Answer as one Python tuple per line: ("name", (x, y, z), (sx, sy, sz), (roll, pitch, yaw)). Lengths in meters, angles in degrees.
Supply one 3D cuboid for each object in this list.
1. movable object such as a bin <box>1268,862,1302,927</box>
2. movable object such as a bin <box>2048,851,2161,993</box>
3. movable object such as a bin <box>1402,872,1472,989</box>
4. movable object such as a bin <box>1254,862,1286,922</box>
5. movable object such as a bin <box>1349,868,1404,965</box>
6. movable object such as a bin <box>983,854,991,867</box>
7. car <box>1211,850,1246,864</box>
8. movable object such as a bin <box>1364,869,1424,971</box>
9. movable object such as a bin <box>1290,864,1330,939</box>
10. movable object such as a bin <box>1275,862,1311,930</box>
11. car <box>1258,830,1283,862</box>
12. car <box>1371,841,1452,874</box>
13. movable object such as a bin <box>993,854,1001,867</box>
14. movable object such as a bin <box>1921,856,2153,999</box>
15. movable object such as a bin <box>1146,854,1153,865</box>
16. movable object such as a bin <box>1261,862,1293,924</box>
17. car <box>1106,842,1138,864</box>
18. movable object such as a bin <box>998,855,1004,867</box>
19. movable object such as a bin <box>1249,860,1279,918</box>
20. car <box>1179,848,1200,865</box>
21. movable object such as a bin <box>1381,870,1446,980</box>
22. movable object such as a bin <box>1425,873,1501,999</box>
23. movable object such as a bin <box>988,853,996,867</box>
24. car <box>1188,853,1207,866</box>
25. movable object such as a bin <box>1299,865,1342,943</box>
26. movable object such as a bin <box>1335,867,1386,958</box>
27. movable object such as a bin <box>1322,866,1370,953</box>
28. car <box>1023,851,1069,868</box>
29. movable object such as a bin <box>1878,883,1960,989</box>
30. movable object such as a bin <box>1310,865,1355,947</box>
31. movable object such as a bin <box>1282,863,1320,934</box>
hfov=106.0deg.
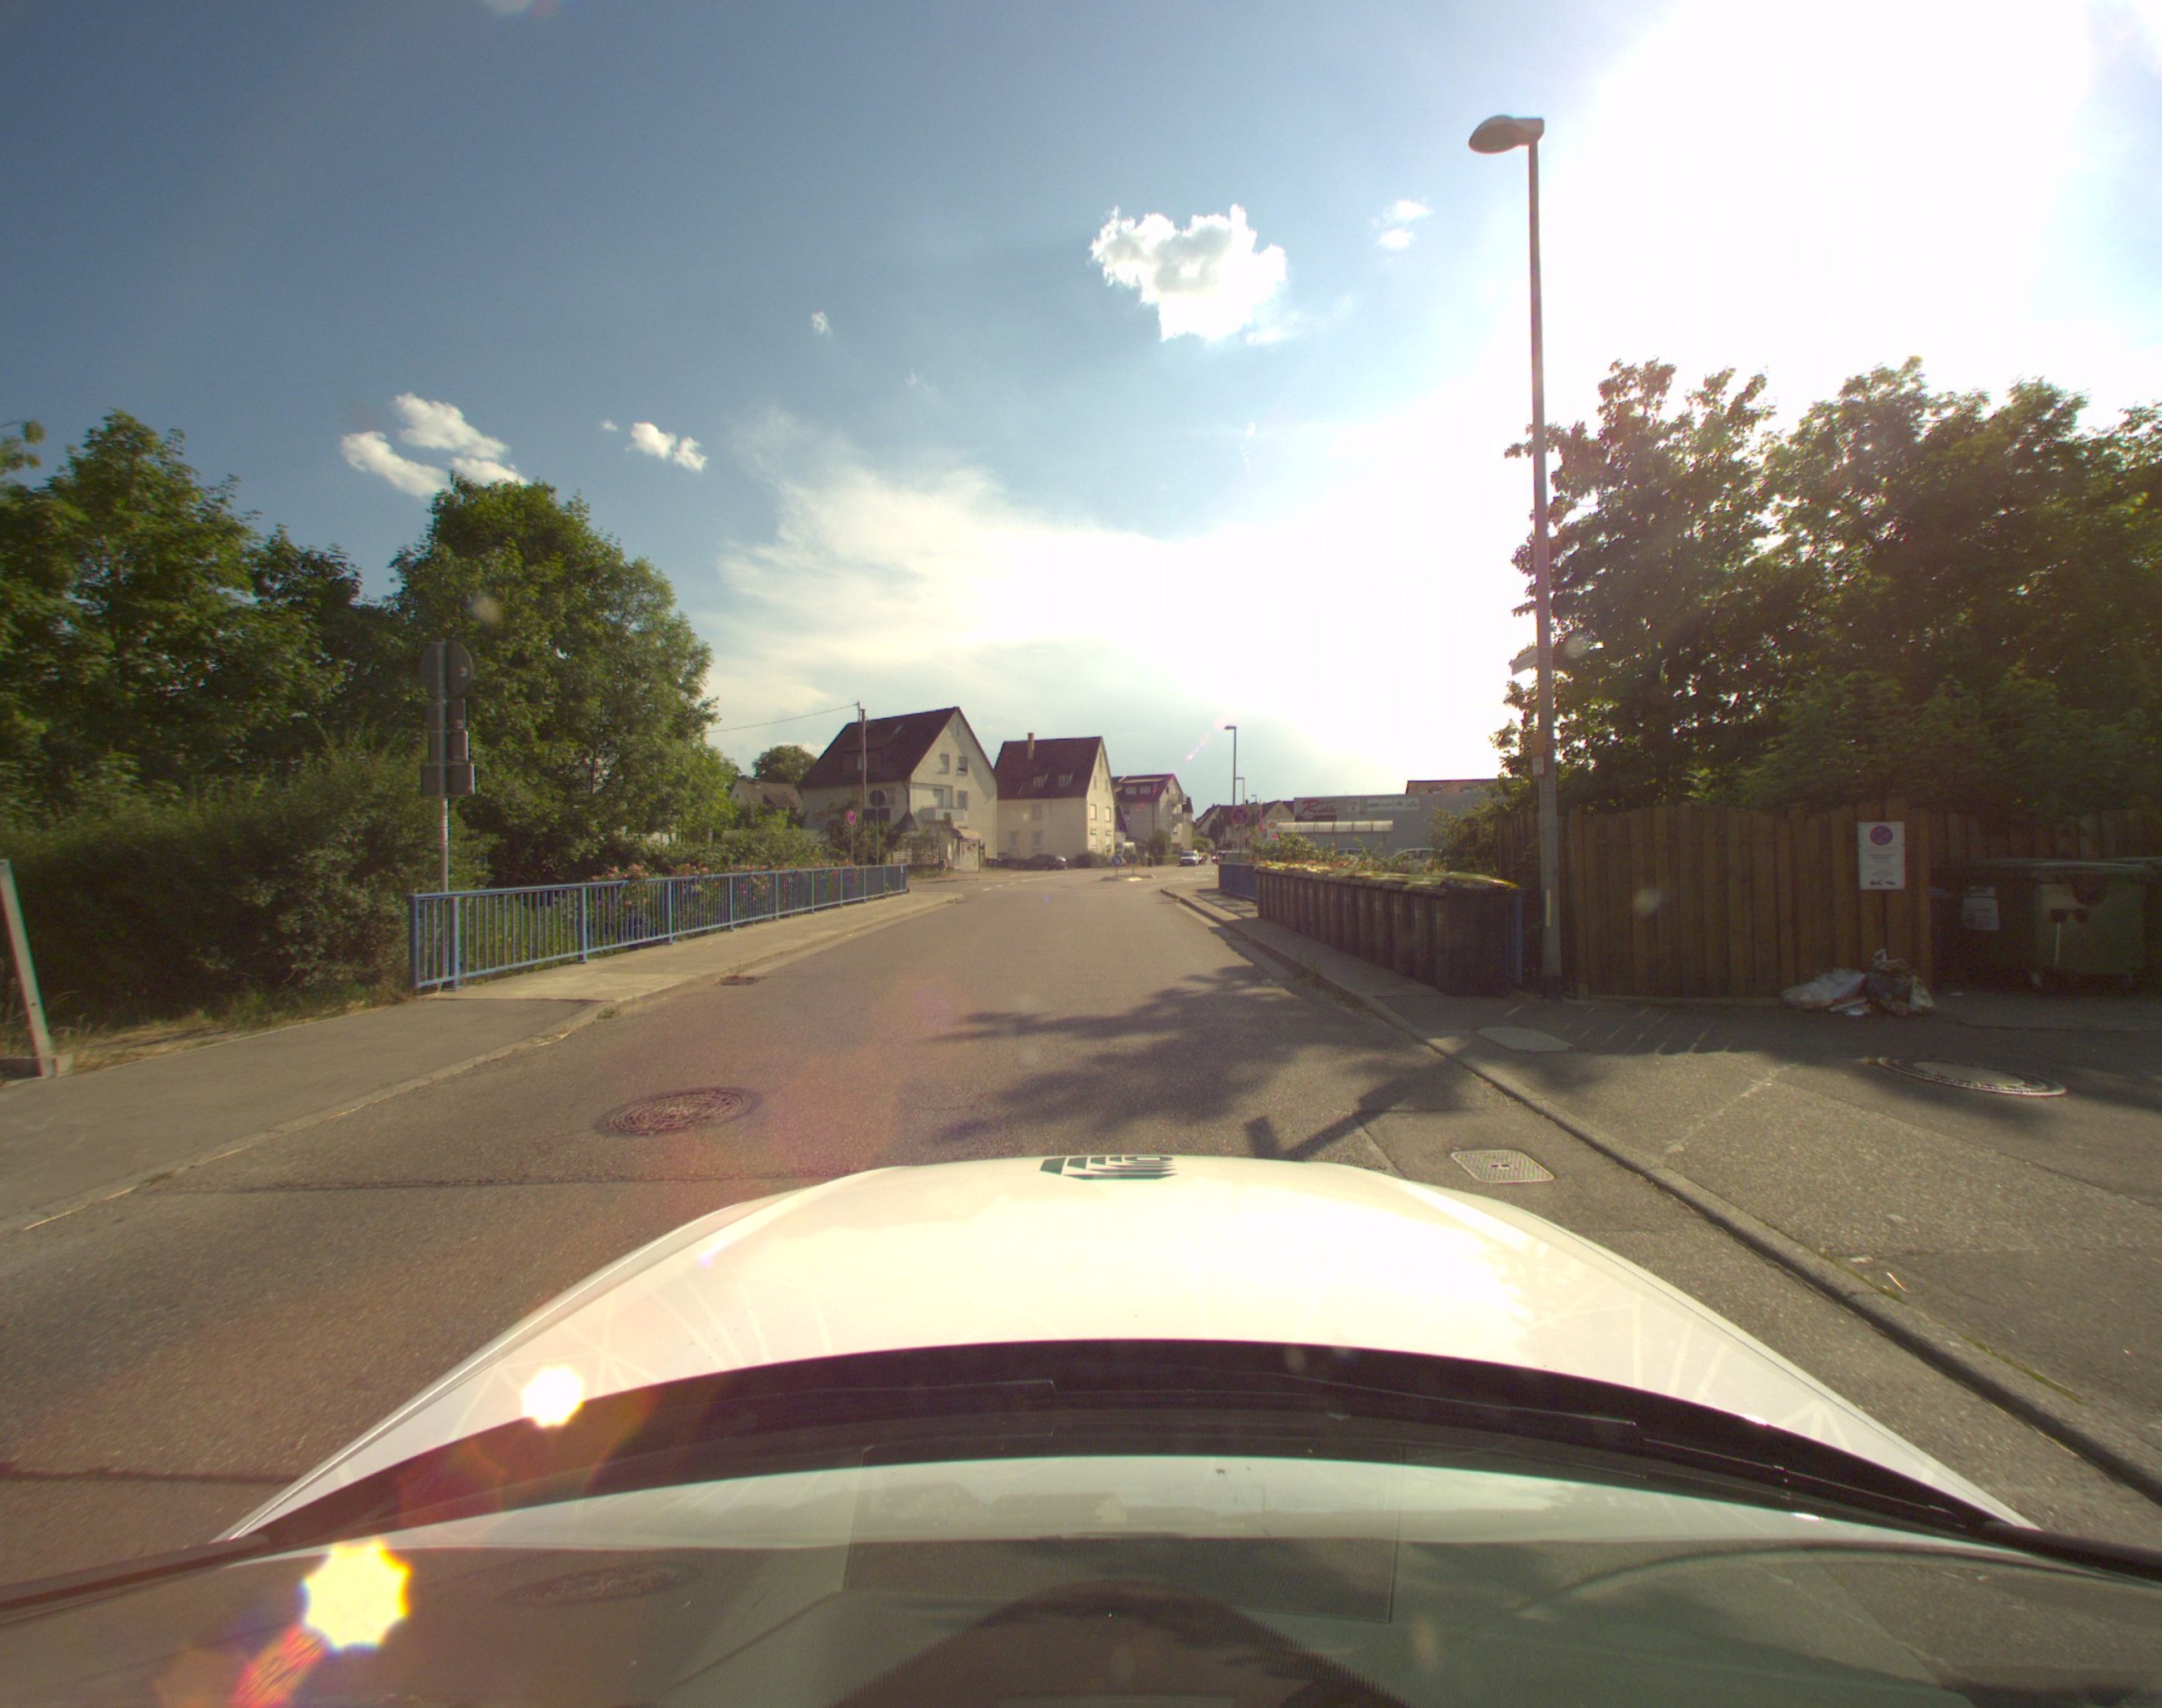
("movable object such as a bin", (3.680, 0.719, 14.737), (0.477, 1.143, 0.538), (-1, 0, 0))
("movable object such as a bin", (10.792, 0.646, 8.157), (1.033, 1.337, 1.008), (0, 1, 14))
("movable object such as a bin", (3.650, 0.766, 8.372), (0.477, 1.143, 0.538), (-1, 0, 0))
("movable object such as a bin", (3.687, 0.731, 15.895), (0.477, 1.143, 0.538), (-1, 0, 0))
("movable object such as a bin", (3.648, 0.758, 10.085), (0.477, 1.143, 0.538), (-1, 0, 0))
("movable object such as a bin", (-7.204, 0.514, 62.608), (0.357, 1.016, 0.561), (-1, -1, 32))
("car", (18.082, 0.356, 99.805), (2.008, 1.608, 3.958), (-1, 1, -34))
("movable object such as a bin", (3.648, 0.752, 9.518), (0.477, 1.143, 0.538), (-1, 0, 0))
("movable object such as a bin", (3.650, 0.744, 12.994), (0.477, 1.143, 0.538), (-1, 0, 0))
("movable object such as a bin", (3.677, 0.725, 14.161), (0.477, 1.143, 0.538), (-1, 0, 0))
("car", (14.831, -0.640, 63.906), (1.824, 2.375, 5.196), (-1, 0, 12))
("car", (15.467, 0.169, 38.253), (3.408, 1.417, 1.506), (-2, -1, 20))
("movable object such as a bin", (-6.571, 0.507, 63.629), (0.357, 1.023, 0.580), (-1, -1, 32))
("movable object such as a bin", (9.693, 0.705, 8.331), (1.144, 1.337, 1.049), (0, 0, 12))
("movable object such as a bin", (7.141, 0.555, 84.937), (0.606, 1.101, 0.578), (1, -1, 16))
("movable object such as a bin", (3.682, 0.723, 15.327), (0.477, 1.143, 0.538), (-1, 0, 0))
("car", (5.029, -0.188, 98.957), (2.140, 2.595, 6.125), (0, 1, 20))
("movable object such as a bin", (-6.294, 0.535, 64.124), (0.357, 0.925, 0.402), (-1, -1, 32))
("movable object such as a bin", (3.714, 0.700, 16.559), (0.477, 1.143, 0.538), (-1, 0, 0))
("car", (12.589, 0.285, 94.466), (1.703, 1.872, 4.210), (-2, 0, 16))
("movable object such as a bin", (3.642, 0.764, 8.945), (0.477, 1.143, 0.543), (-1, 0, 0))
("movable object such as a bin", (3.653, 0.769, 7.814), (0.477, 1.143, 0.538), (-1, 0, 0))
("movable object such as a bin", (-6.886, 0.461, 63.152), (0.357, 1.041, 0.561), (-1, -1, 32))
("car", (14.207, 0.688, 98.987), (1.660, 1.451, 3.851), (-1, 0, 16))
("movable object such as a bin", (3.643, 0.747, 12.402), (0.477, 1.143, 0.565), (-1, 0, 0))
("movable object such as a bin", (3.654, 0.755, 10.668), (0.477, 1.143, 0.538), (-1, 0, 0))
("movable object such as a bin", (3.650, 0.752, 11.245), (0.477, 1.143, 0.538), (-1, 0, 0))
("car", (-3.093, 0.456, 71.499), (3.950, 1.433, 1.663), (1, 1, 43))
("movable object such as a bin", (8.752, 0.844, 8.521), (0.428, 1.044, 0.443), (0, 1, 14))
("movable object such as a bin", (3.643, 0.745, 11.822), (0.477, 1.143, 0.538), (-1, 0, 0))
("movable object such as a bin", (3.659, 0.723, 13.569), (0.477, 1.143, 0.538), (-1, 0, 0))
